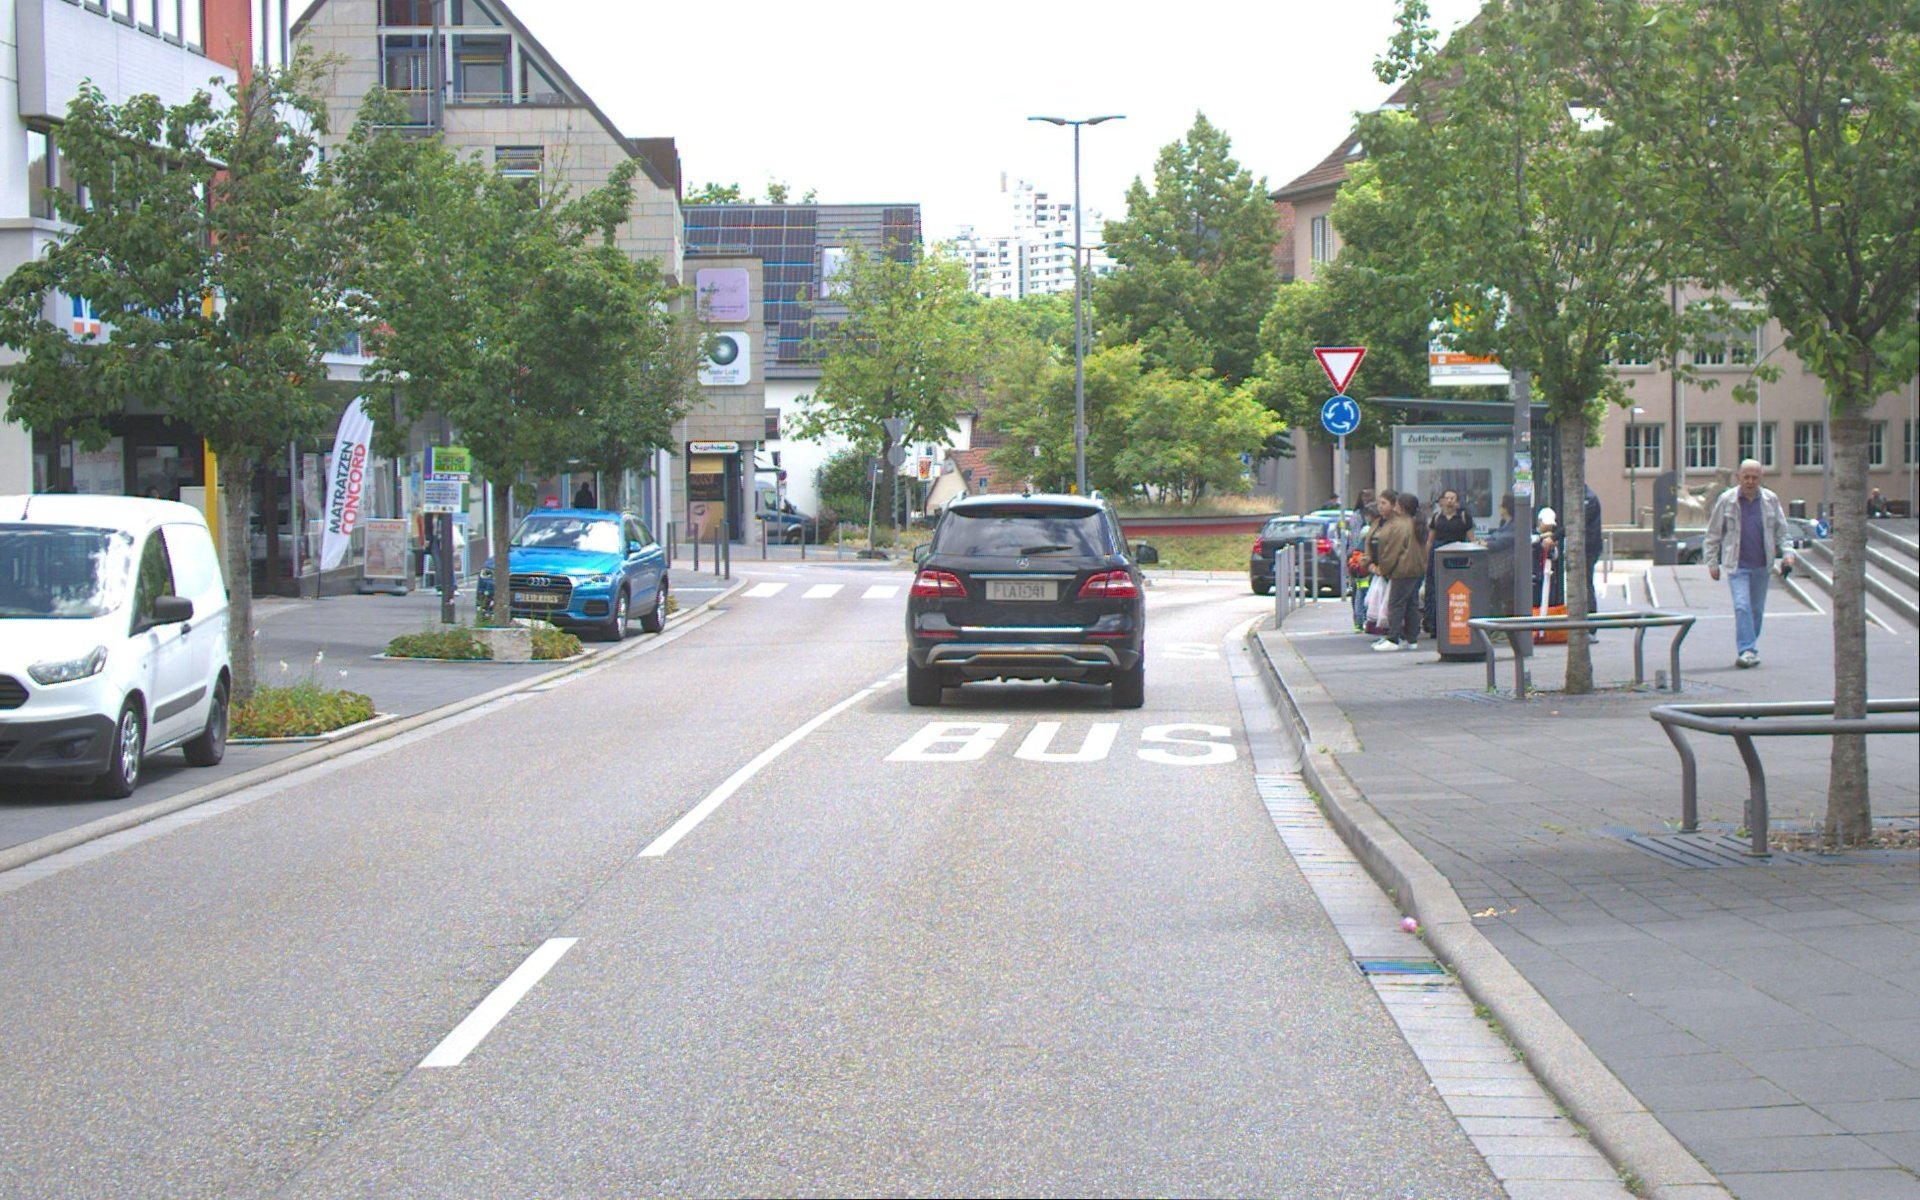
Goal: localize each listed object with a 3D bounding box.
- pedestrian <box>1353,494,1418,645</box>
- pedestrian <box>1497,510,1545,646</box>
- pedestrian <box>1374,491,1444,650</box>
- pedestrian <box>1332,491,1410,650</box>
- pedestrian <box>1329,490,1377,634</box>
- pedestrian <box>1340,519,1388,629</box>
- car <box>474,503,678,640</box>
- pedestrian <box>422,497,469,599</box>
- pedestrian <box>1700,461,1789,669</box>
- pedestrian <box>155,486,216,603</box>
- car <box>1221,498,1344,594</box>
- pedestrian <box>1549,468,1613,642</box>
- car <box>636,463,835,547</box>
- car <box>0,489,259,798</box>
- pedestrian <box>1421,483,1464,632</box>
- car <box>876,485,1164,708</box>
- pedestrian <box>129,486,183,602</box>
[{"bbox_3d":[4.495,-0.326,36.303,0.500,1.560,0.498,-2,1,-15],"label":"pedestrian"},{"bbox_3d":[5.486,-0.218,33.620,0.389,1.301,0.355,-3,1,5],"label":"pedestrian"},{"bbox_3d":[4.404,-0.291,33.722,0.513,1.544,0.486,-1,2,29],"label":"pedestrian"},{"bbox_3d":[4.072,-0.295,34.059,0.485,1.544,0.544,-3,2,-43],"label":"pedestrian"},{"bbox_3d":[4.488,-0.439,39.239,0.387,1.614,0.469,-2,1,18],"label":"pedestrian"},{"bbox_3d":[4.543,-0.296,38.640,0.403,1.222,0.387,-1,2,25],"label":"pedestrian"},{"bbox_3d":[-4.853,-0.401,43.991,1.695,1.594,4.331,3,2,5],"label":"car"},{"bbox_3d":[-8.099,-0.817,54.108,0.587,1.582,0.638,1,1,4],"label":"pedestrian"},{"bbox_3d":[6.408,-0.290,28.068,0.685,1.676,0.714,0,1,14],"label":"pedestrian"},{"bbox_3d":[-10.479,-0.755,46.519,0.643,1.561,0.586,-2,1,0],"label":"pedestrian"},{"bbox_3d":[5.746,-0.992,61.503,2.053,1.582,4.372,2,2,5],"label":"car"},{"bbox_3d":[6.062,-0.442,33.569,0.511,1.674,0.576,-1,1,3],"label":"pedestrian"},{"bbox_3d":[-7.548,-3.162,115.485,6.283,2.551,2.207,1,-1,-18],"label":"car"},{"bbox_3d":[-5.486,0.175,20.747,1.656,1.666,4.351,1,1,-1],"label":"car"},{"bbox_3d":[5.107,-0.455,36.390,0.393,1.560,0.352,-1,1,4],"label":"pedestrian"},{"bbox_3d":[0.418,-0.011,29.055,2.027,1.721,4.434,1,0,-4],"label":"car"},{"bbox_3d":[-11.010,-0.769,47.090,0.510,1.561,0.586,-2,1,4],"label":"pedestrian"}]
